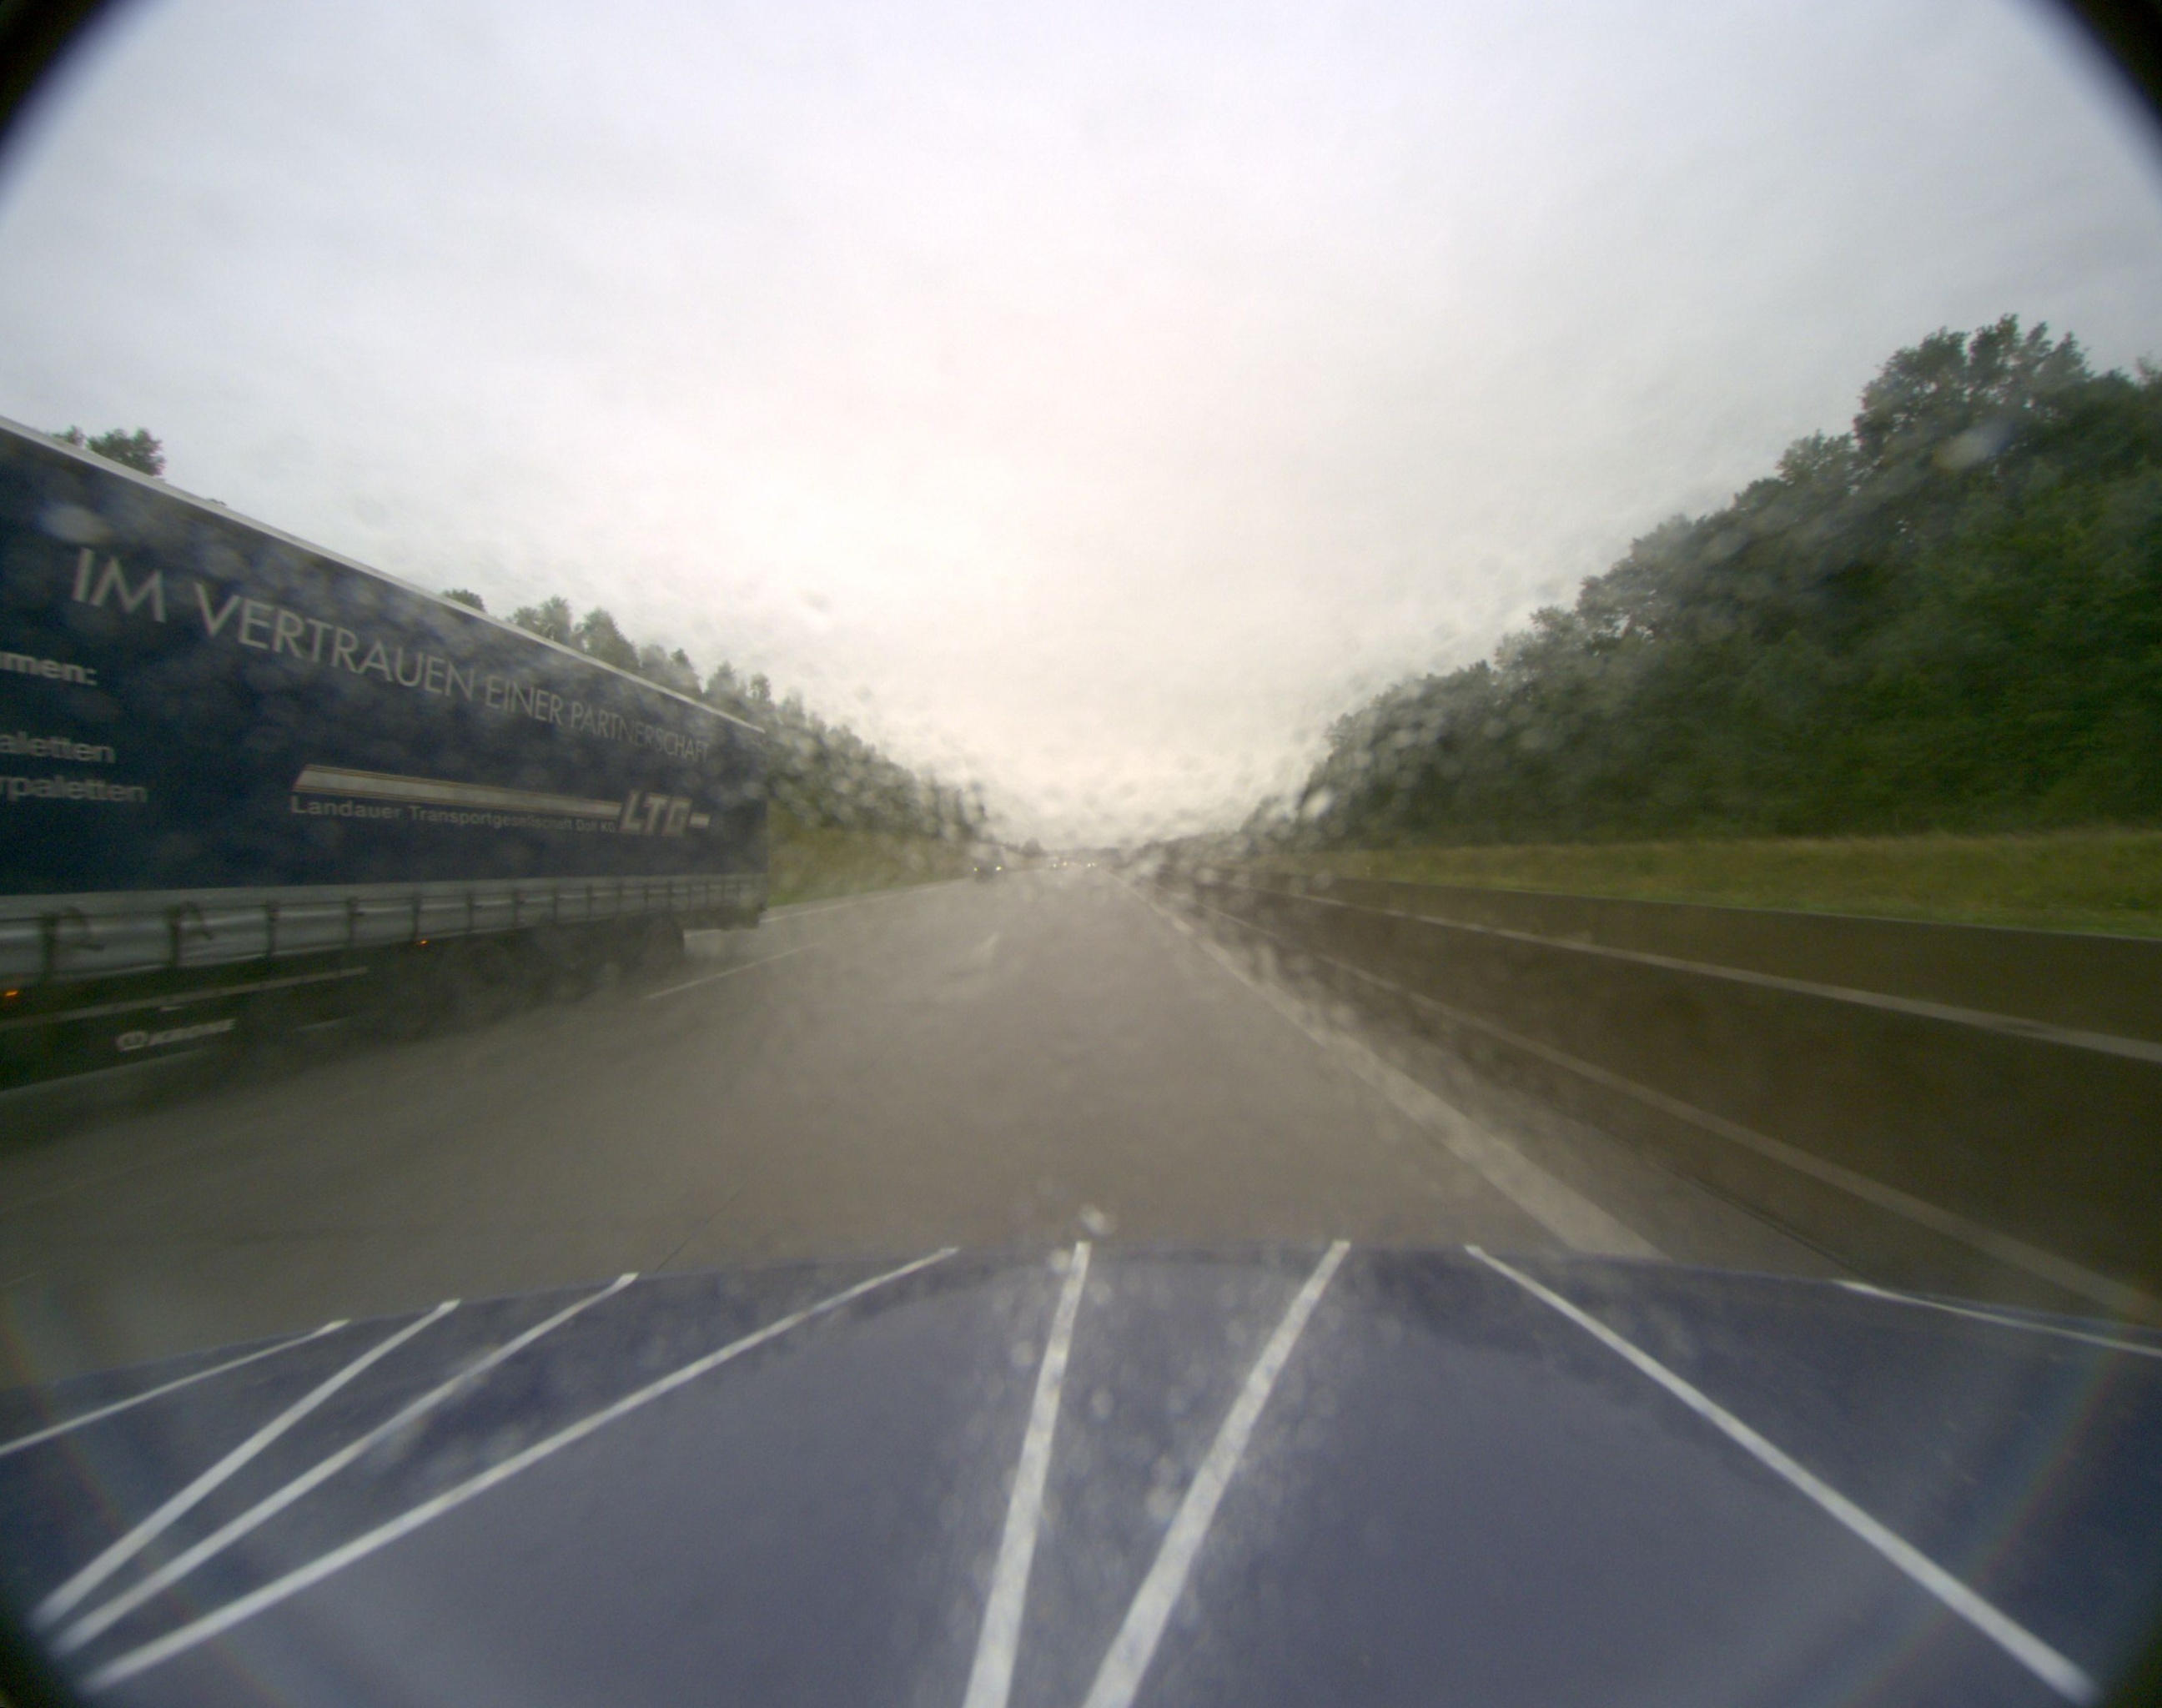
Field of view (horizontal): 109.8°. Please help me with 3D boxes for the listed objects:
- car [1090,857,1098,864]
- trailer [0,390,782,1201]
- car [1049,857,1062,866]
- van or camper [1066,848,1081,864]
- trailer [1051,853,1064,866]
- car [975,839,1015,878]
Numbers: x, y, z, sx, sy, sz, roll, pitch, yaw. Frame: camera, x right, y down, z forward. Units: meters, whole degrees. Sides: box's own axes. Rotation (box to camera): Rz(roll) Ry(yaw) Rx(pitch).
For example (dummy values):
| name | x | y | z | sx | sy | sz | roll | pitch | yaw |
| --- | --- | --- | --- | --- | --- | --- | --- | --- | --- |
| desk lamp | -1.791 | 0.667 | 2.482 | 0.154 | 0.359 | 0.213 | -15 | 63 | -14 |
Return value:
| name | x | y | z | sx | sy | sz | roll | pitch | yaw |
| --- | --- | --- | --- | --- | --- | --- | --- | --- | --- |
| car | 2.867 | 1.521 | 172.233 | 1.733 | 1.450 | 4.672 | -1 | 0 | 1 |
| trailer | -7.111 | -0.297 | 6.553 | 2.713 | 4.354 | 15.204 | -2 | 0 | 1 |
| car | -4.804 | 1.404 | 143.350 | 1.998 | 1.575 | 5.954 | -3 | -1 | 2 |
| van or camper | -1.228 | 0.287 | 127.489 | 2.233 | 2.537 | 7.950 | 0 | 0 | 2 |
| trailer | -4.592 | 0.995 | 149.322 | 2.348 | 2.445 | 5.940 | 0 | 0 | 2 |
| car | -6.438 | 0.349 | 57.416 | 1.945 | 2.643 | 6.587 | -2 | -1 | 2 |
